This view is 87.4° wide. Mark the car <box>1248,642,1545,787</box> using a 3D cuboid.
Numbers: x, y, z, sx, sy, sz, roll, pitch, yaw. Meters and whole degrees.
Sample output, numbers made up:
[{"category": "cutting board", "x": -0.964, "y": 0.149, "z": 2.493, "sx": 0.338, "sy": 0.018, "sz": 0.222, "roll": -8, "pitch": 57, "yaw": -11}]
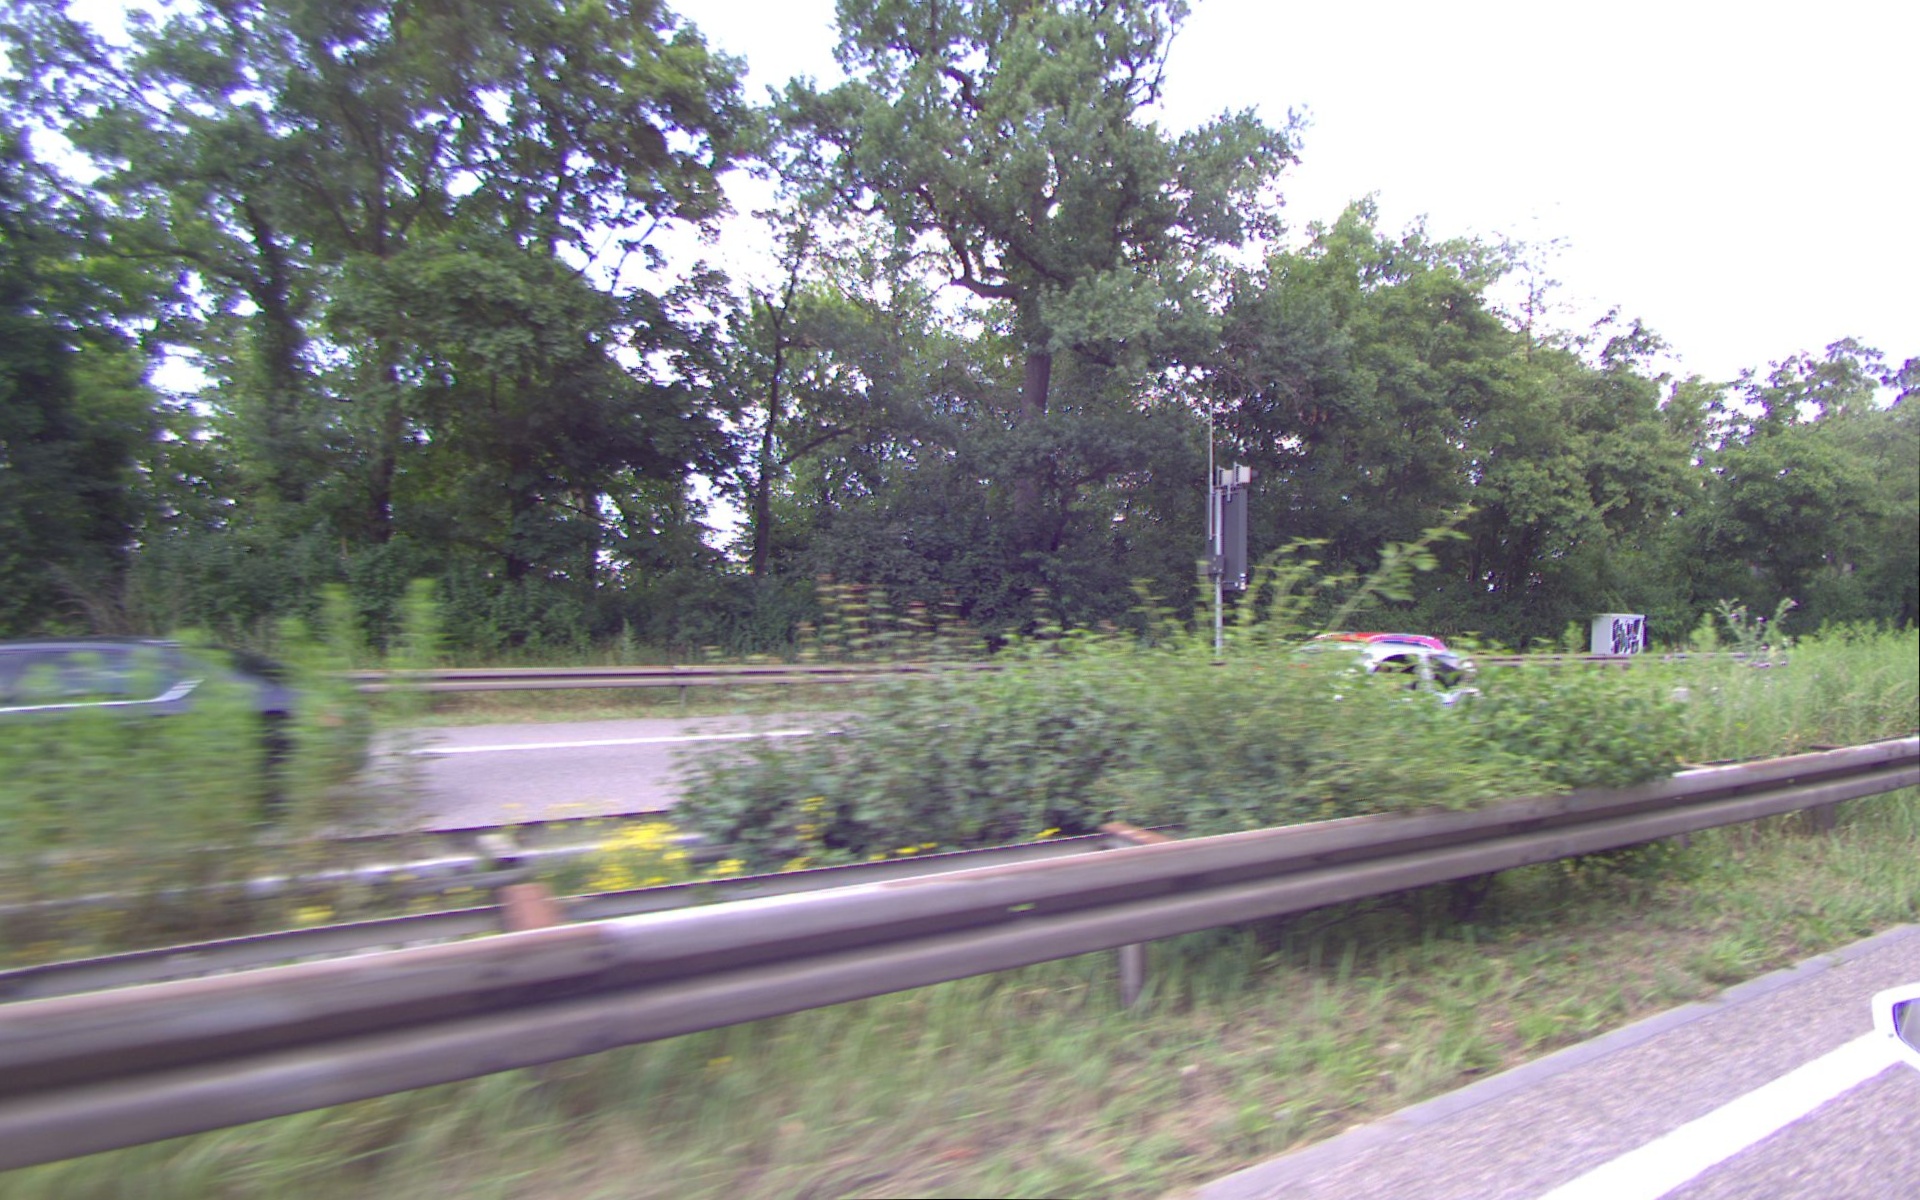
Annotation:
[{"category": "car", "x": 5.177, "y": 1.246, "z": 11.864, "sx": 3.284, "sy": 1.442, "sz": 1.607, "roll": 1, "pitch": -1, "yaw": -30}]

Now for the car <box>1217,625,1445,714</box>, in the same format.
[{"category": "car", "x": 6.748, "y": 1.193, "z": 18.104, "sx": 4.210, "sy": 1.371, "sz": 1.850, "roll": 2, "pitch": -1, "yaw": -36}]
